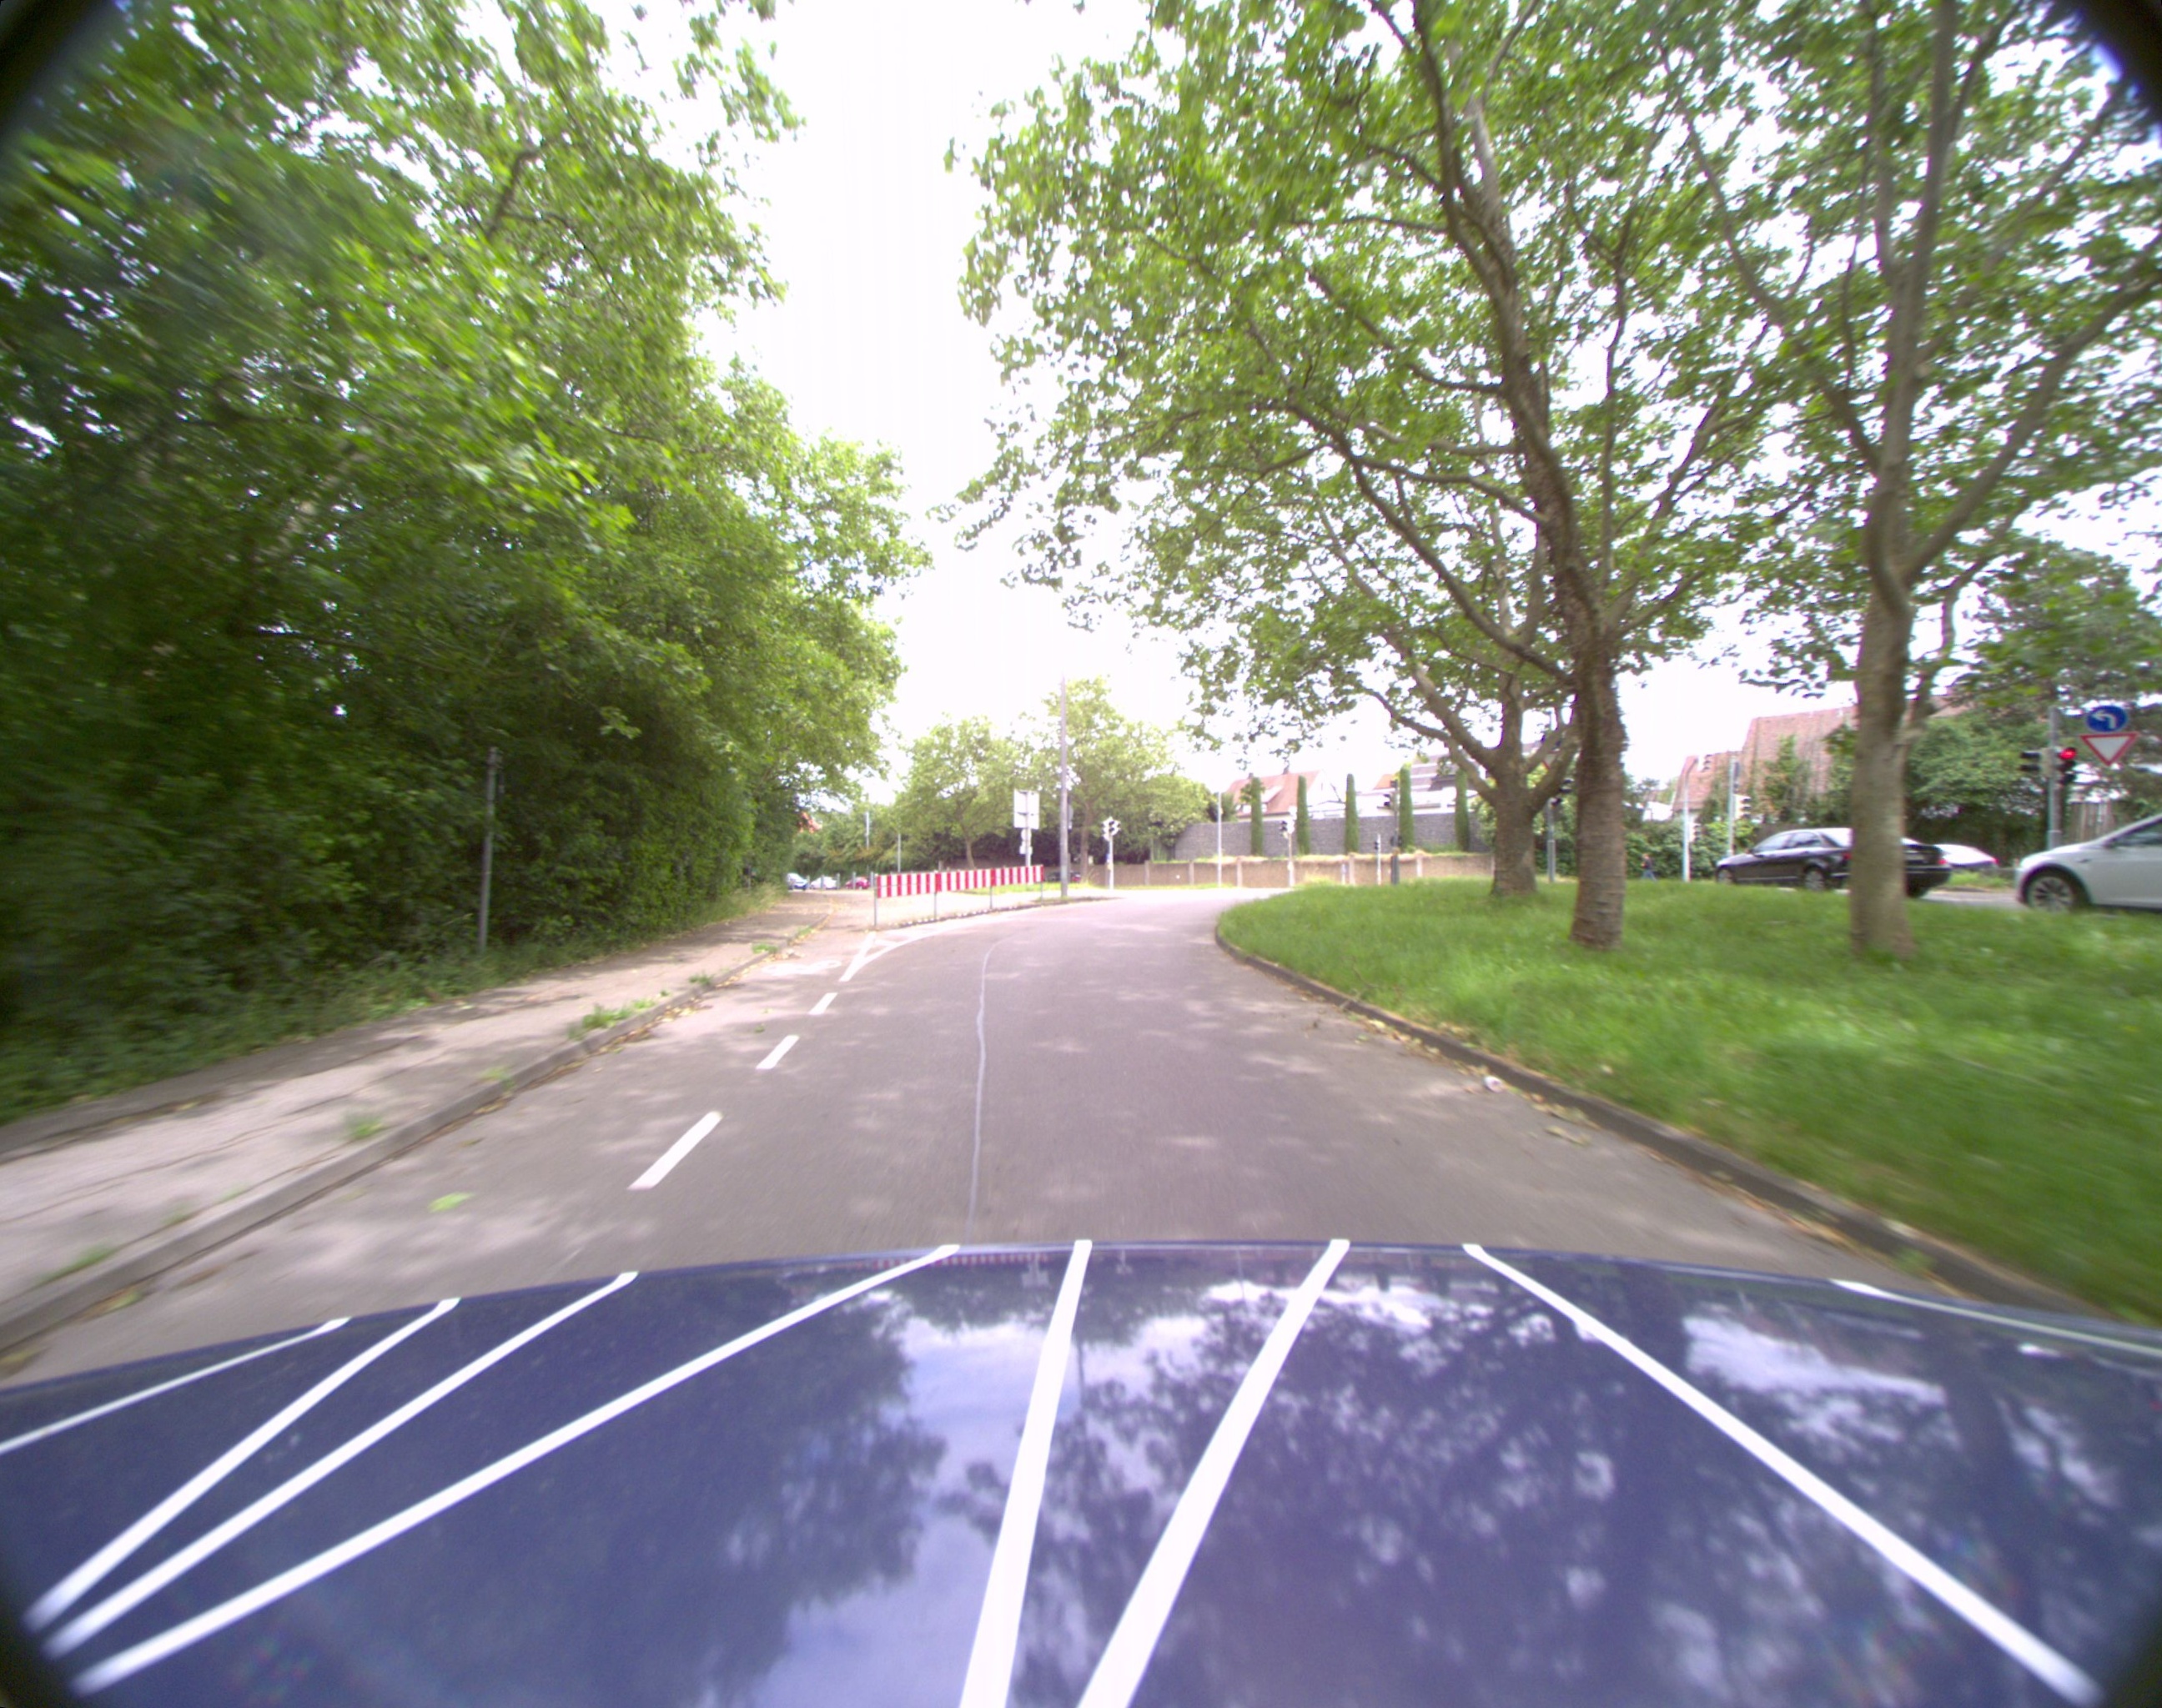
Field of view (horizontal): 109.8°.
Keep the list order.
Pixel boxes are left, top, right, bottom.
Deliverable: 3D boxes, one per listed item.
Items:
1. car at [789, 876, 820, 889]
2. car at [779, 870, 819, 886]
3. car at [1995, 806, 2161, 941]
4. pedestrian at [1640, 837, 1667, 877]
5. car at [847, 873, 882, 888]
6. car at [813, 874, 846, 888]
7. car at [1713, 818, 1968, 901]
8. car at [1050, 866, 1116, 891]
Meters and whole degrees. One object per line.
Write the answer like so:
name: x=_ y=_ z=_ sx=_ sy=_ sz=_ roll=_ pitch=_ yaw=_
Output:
car: x=-31.897 y=3.290 z=87.743 sx=3.821 sy=1.495 sz=1.691 roll=-2 pitch=-4 yaw=41
car: x=-26.675 y=2.273 z=71.934 sx=4.136 sy=1.419 sz=1.802 roll=-2 pitch=-4 yaw=42
car: x=14.026 y=0.205 z=8.718 sx=1.854 sy=1.648 sz=4.912 roll=-1 pitch=-2 yaw=12
pedestrian: x=29.705 y=0.167 z=39.453 sx=0.853 sy=2.001 sz=0.954 roll=-2 pitch=-1 yaw=22
car: x=-22.721 y=2.833 z=79.620 sx=3.821 sy=1.495 sz=1.691 roll=-2 pitch=-4 yaw=41
car: x=-27.783 y=3.014 z=84.010 sx=3.821 sy=1.495 sz=1.691 roll=-2 pitch=-4 yaw=41
car: x=15.850 y=0.079 z=16.241 sx=1.760 sy=1.508 sz=4.390 roll=-1 pitch=1 yaw=12
car: x=0.121 y=1.794 z=54.353 sx=4.454 sy=1.621 sz=1.850 roll=-3 pitch=-4 yaw=36
